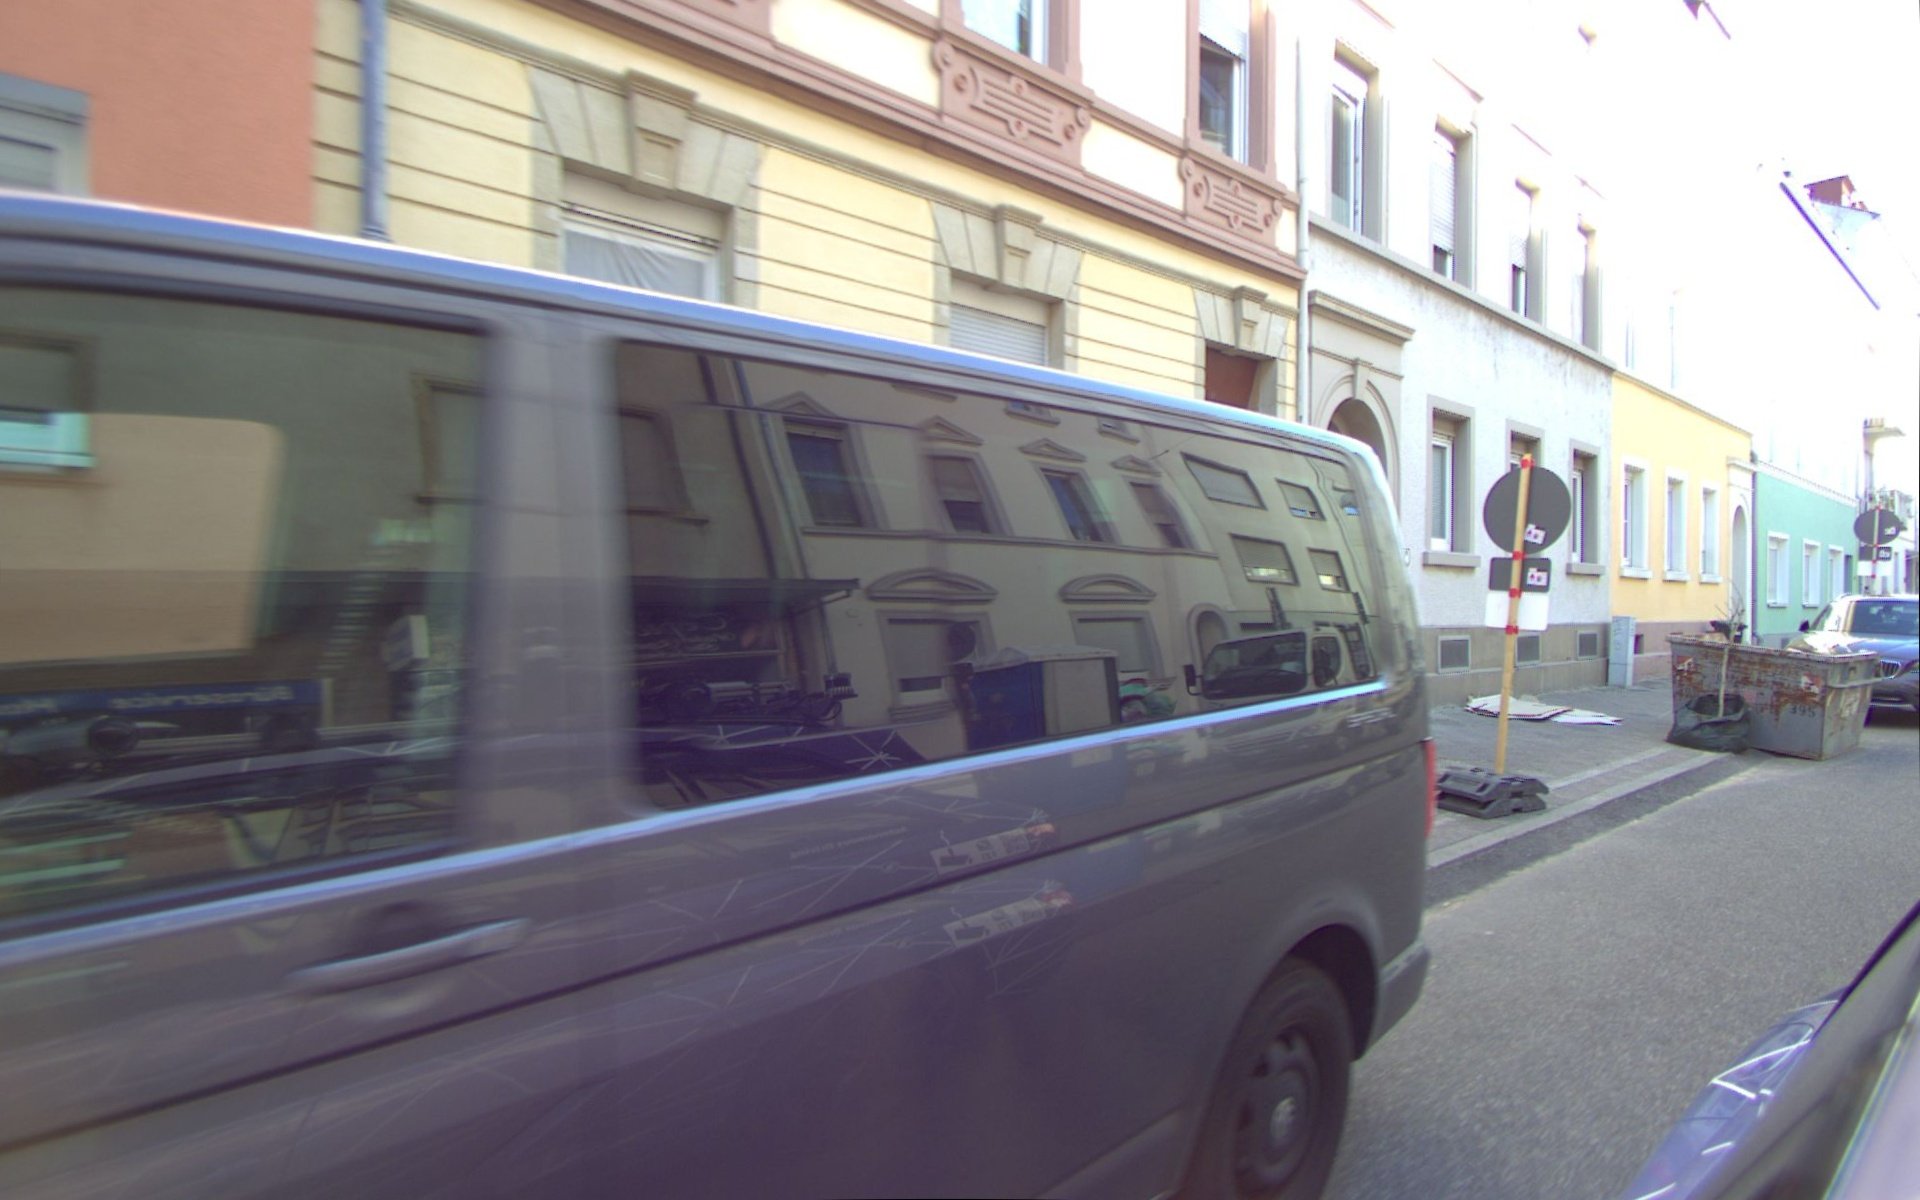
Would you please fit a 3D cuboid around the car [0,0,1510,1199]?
[{"bbox_3d":[-0.949,0.451,1.944,4.814,2.054,1.973,0,-1,-41],"label":"car"}]

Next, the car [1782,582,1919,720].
[{"bbox_3d":[12.281,0.557,13.182,3.980,1.562,1.744,-1,1,-40],"label":"car"}]

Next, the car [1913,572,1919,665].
[{"bbox_3d":[22.003,0.360,21.633,4.379,1.909,1.897,-1,1,-40],"label":"car"}]
